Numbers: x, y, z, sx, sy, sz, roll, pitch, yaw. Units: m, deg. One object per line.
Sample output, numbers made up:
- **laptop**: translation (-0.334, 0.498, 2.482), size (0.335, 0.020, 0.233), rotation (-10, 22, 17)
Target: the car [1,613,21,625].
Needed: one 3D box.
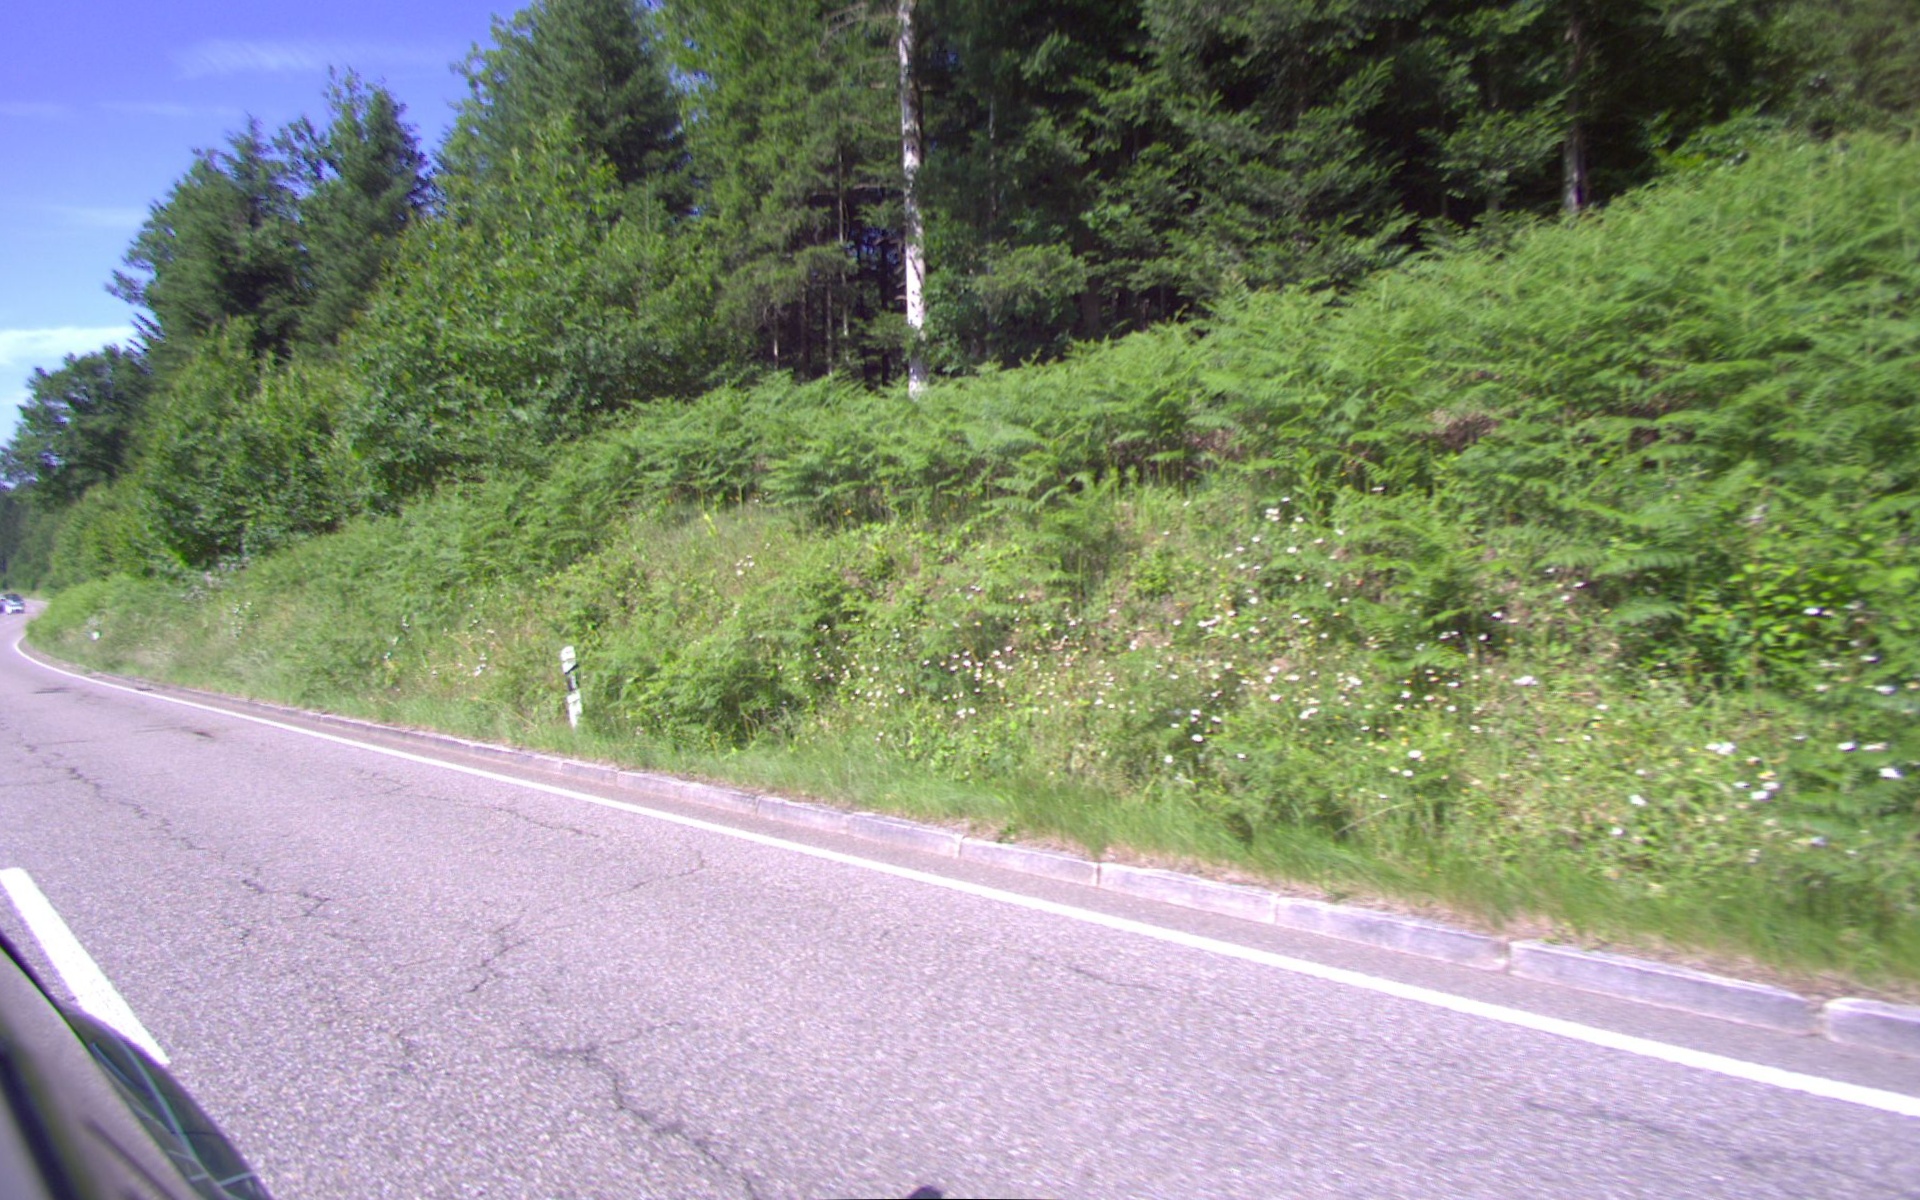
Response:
- **car**: translation (-135.707, 2.670, 144.639), size (3.787, 1.563, 1.681), rotation (1, 3, 41)
